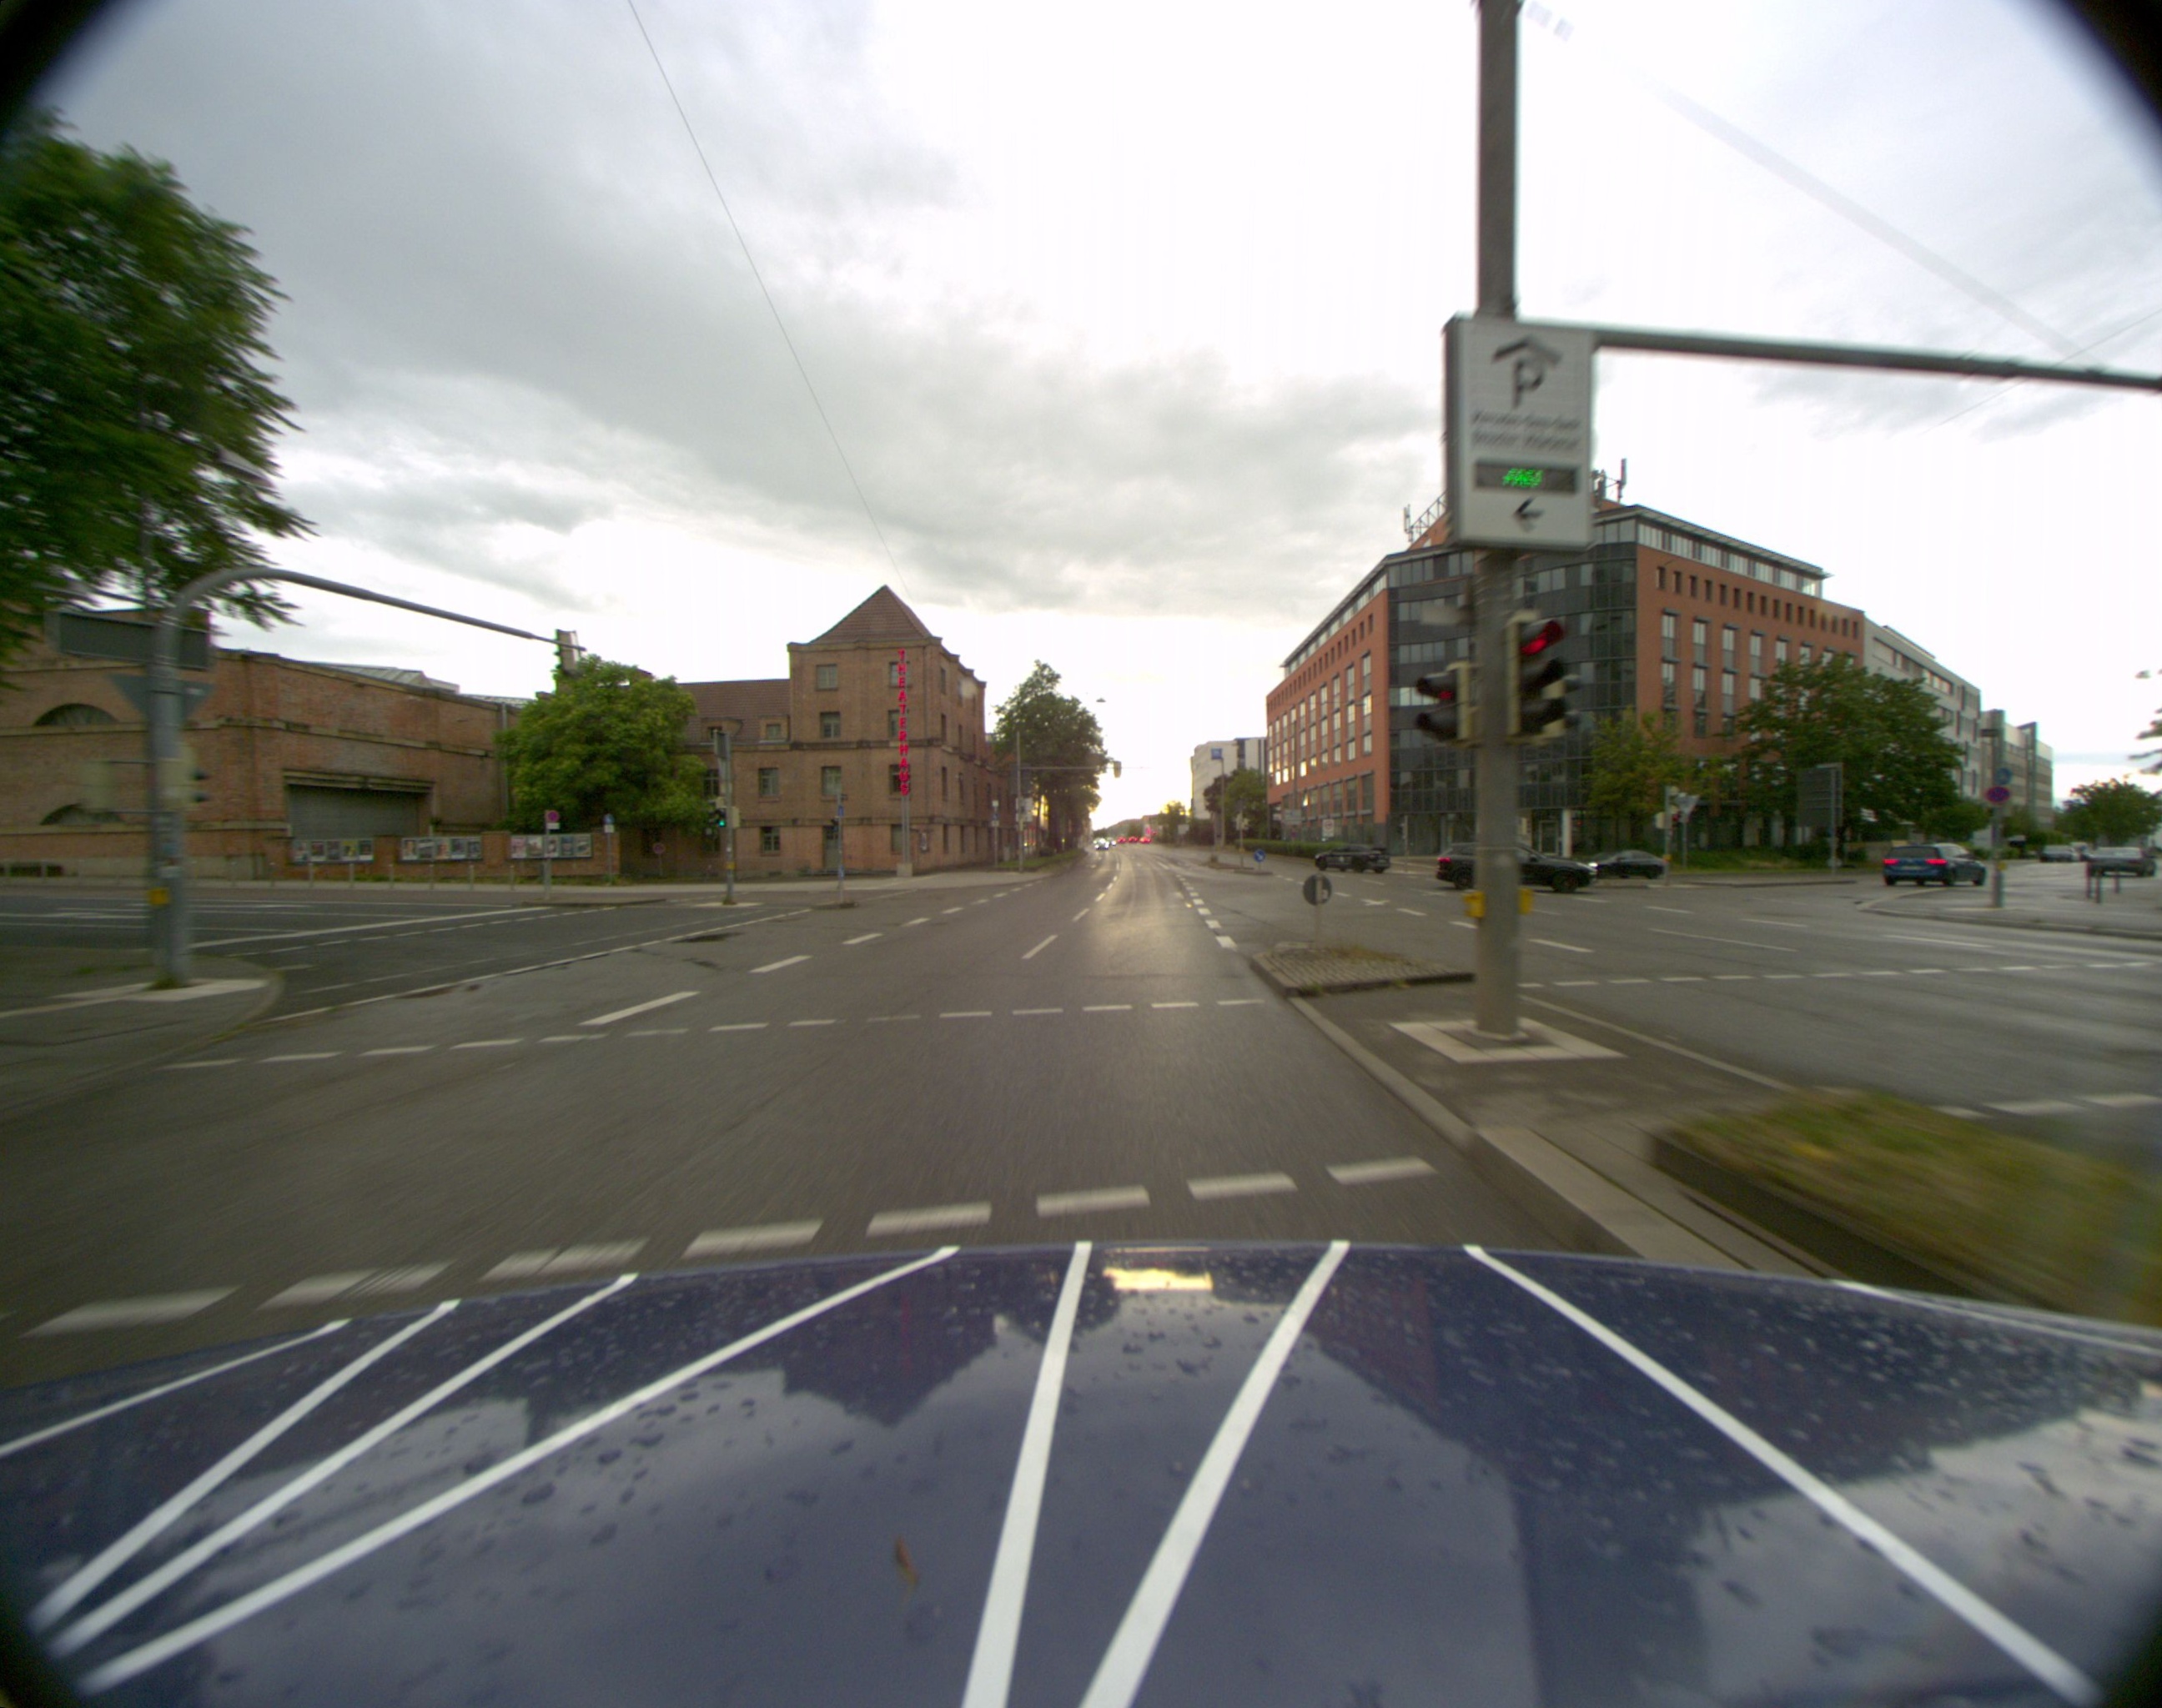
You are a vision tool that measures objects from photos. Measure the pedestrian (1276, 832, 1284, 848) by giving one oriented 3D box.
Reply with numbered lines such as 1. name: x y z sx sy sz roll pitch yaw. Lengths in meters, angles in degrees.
1. pedestrian: 22.930 -1.657 87.569 0.747 1.831 0.885 -2 2 2

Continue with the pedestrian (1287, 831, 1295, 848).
1. pedestrian: 24.041 -1.664 87.012 0.747 1.831 0.885 -2 2 2

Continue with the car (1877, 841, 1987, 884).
1. car: 33.678 0.310 30.057 4.203 1.587 1.774 0 2 -26

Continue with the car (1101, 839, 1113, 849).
1. car: 3.912 -1.473 114.182 1.798 1.501 4.000 0 1 3

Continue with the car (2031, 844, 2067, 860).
1. car: 92.644 -0.239 72.707 4.007 1.502 1.795 0 1 -33

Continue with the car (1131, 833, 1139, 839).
1. car: 14.589 -4.779 204.763 1.998 1.543 3.999 -1 2 3

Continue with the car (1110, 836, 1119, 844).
1. car: 6.868 -2.814 155.193 1.798 1.501 4.000 0 1 3

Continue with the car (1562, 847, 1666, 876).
1. car: 26.227 0.344 37.420 4.000 1.355 1.851 0 2 -9

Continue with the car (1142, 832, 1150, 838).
1. car: 18.162 -5.251 212.192 1.767 1.559 3.999 1 2 1

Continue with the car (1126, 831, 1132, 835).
1. car: 15.576 -6.855 248.080 1.998 1.543 3.999 -1 2 3

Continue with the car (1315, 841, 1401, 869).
1. car: 15.693 0.043 43.230 1.860 1.501 4.361 0 1 -32

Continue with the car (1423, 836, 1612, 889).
1. car: 14.743 0.238 25.930 5.409 1.657 2.004 0 2 31

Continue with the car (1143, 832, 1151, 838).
1. car: 17.075 -4.836 196.460 1.767 1.559 3.999 1 2 0

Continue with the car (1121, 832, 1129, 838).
1. car: 11.333 -4.970 197.357 1.998 1.543 3.999 -1 2 3

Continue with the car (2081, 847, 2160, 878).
1. car: 55.456 0.427 40.528 4.054 1.502 1.848 -1 2 -27
